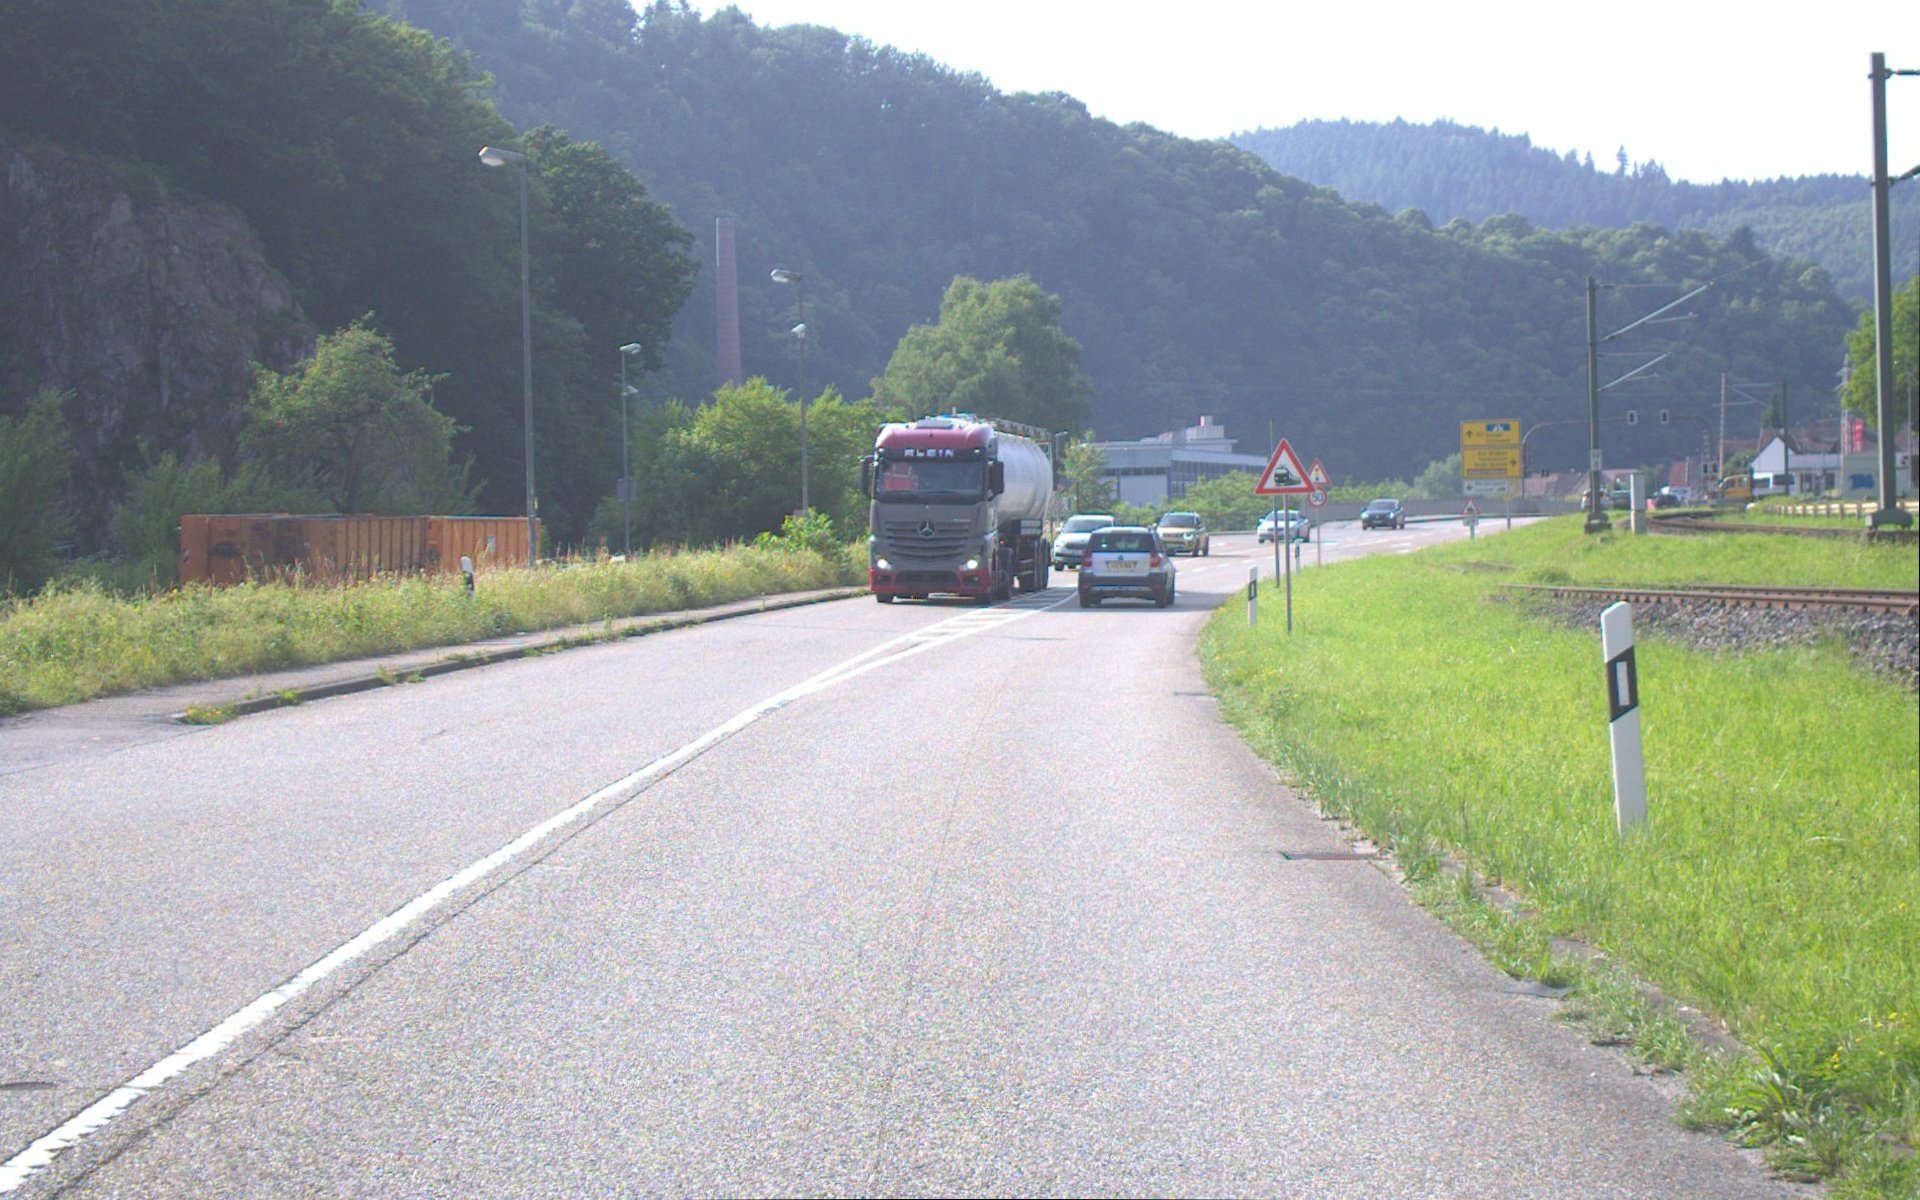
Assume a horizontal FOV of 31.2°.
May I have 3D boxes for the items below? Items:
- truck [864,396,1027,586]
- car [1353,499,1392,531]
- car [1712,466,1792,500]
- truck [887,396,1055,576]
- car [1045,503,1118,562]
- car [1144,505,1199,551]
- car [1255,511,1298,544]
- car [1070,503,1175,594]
[{"bbox_3d":[-0.212,-2.312,73.506,2.750,3.822,8.197,0,2,5],"label":"truck"},{"bbox_3d":[21.134,-4.356,175.998,1.848,1.579,4.315,1,2,9],"label":"car"},{"bbox_3d":[54.582,-8.087,236.964,5.281,2.006,1.999,-3,1,12],"label":"car"},{"bbox_3d":[0.439,-2.633,80.642,2.750,3.822,14.560,0,2,5],"label":"truck"},{"bbox_3d":[3.723,-2.073,104.754,1.994,1.752,4.469,1,1,5],"label":"car"},{"bbox_3d":[7.730,-2.643,125.364,1.724,1.619,3.795,1,2,8],"label":"car"},{"bbox_3d":[13.849,-3.168,150.331,1.778,1.343,4.510,1,2,6],"label":"car"},{"bbox_3d":[3.357,-1.073,70.611,1.994,1.717,3.990,-3,1,3],"label":"car"}]
